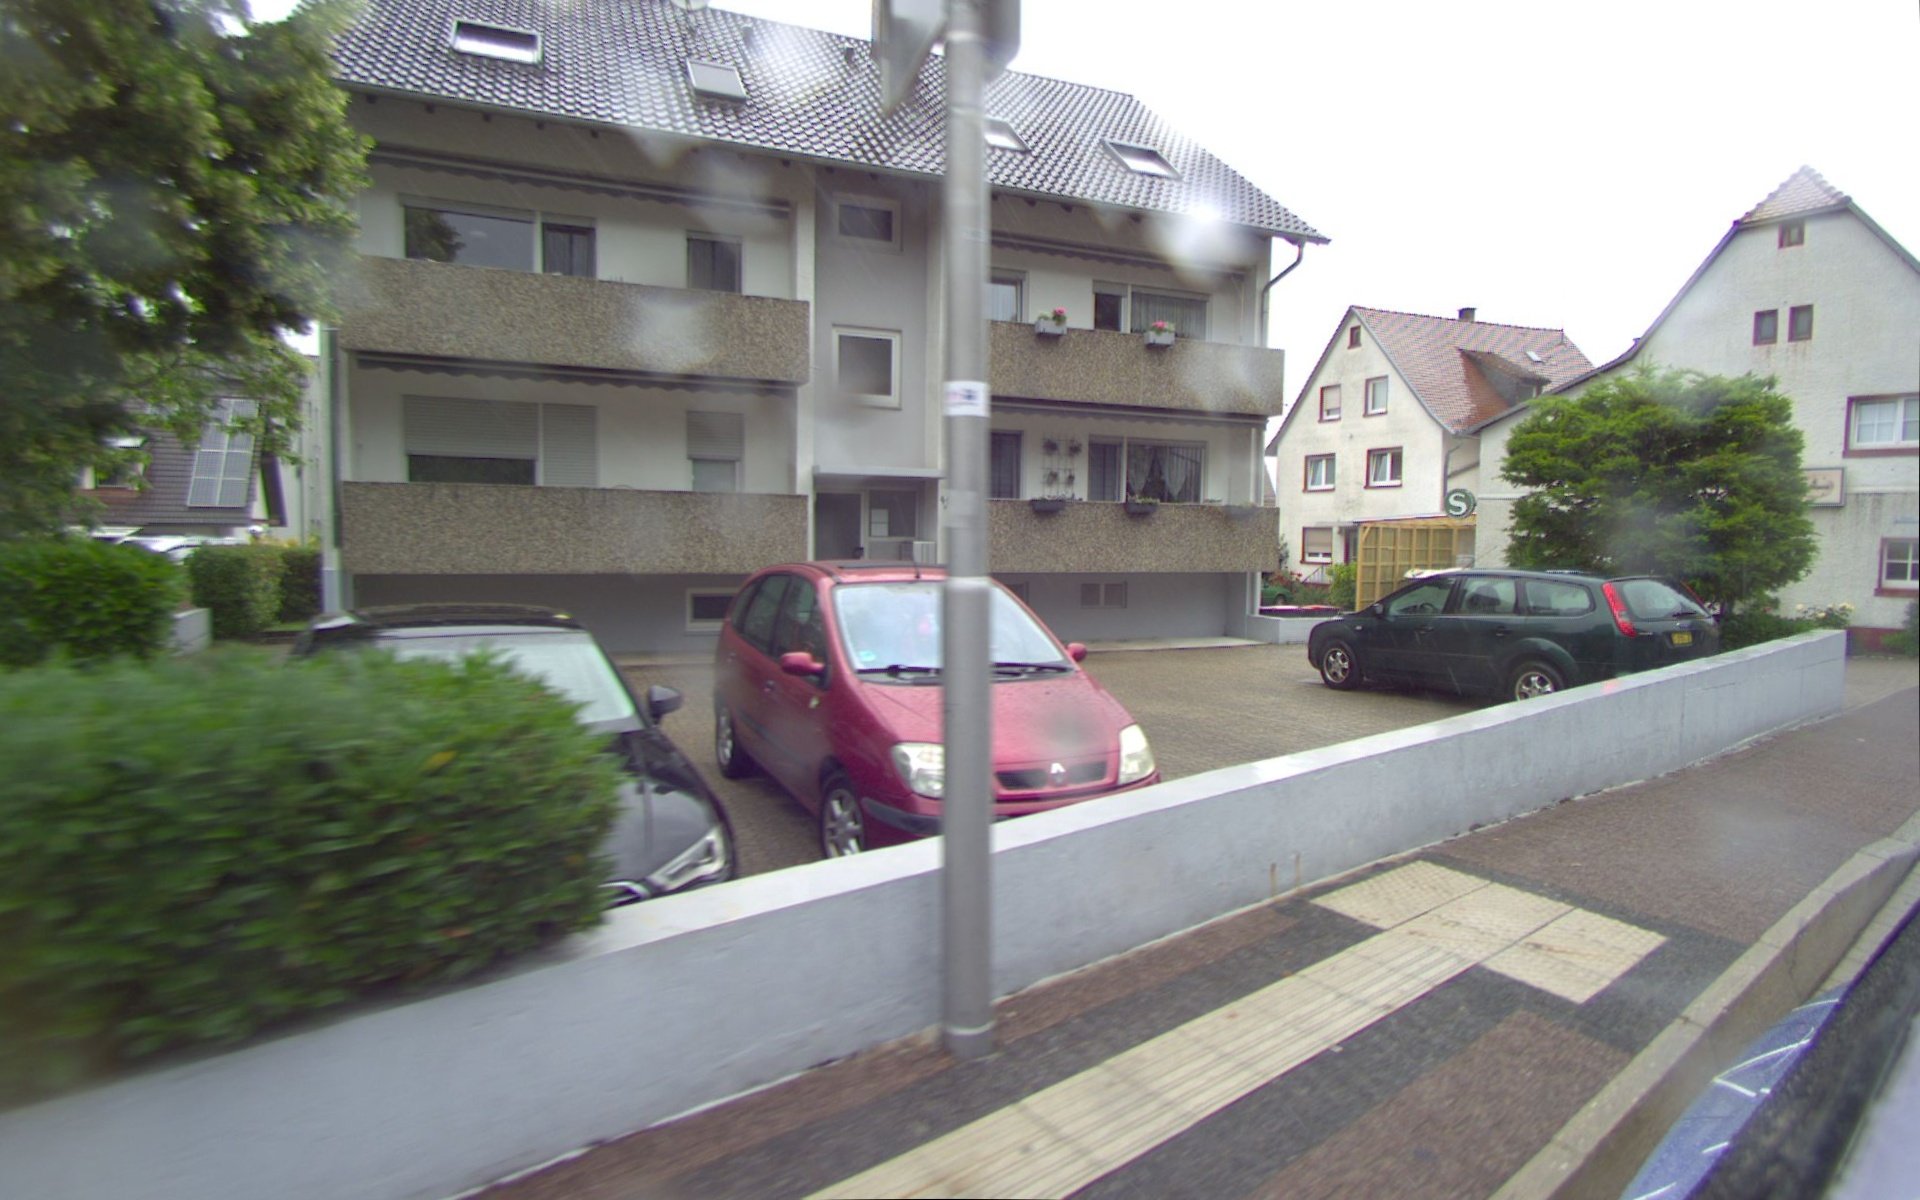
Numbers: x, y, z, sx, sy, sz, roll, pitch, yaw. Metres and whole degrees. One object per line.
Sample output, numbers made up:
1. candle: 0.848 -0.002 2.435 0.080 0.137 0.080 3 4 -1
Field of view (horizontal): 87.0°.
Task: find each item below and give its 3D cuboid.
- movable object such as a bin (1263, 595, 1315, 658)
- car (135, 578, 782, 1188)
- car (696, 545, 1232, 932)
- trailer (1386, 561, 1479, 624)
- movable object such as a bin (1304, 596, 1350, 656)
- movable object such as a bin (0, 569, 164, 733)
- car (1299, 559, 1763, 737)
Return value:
1. movable object such as a bin: 6.172 0.482 19.005 0.676 1.132 0.627 -1 1 -18
2. car: -2.380 0.678 4.700 1.717 1.395 3.969 -1 4 -32
3. car: -0.368 0.475 6.460 1.819 1.609 4.090 -1 3 -25
4. trailer: 13.979 -0.252 29.920 2.565 1.763 1.571 -1 2 -41
5. movable object such as a bin: 6.899 0.484 19.046 0.558 1.080 0.627 -1 1 -13
6. movable object such as a bin: -8.043 0.404 9.286 1.134 1.374 1.245 -1 2 -38
7. car: 5.909 0.333 11.133 1.660 1.498 4.252 -1 3 -24
